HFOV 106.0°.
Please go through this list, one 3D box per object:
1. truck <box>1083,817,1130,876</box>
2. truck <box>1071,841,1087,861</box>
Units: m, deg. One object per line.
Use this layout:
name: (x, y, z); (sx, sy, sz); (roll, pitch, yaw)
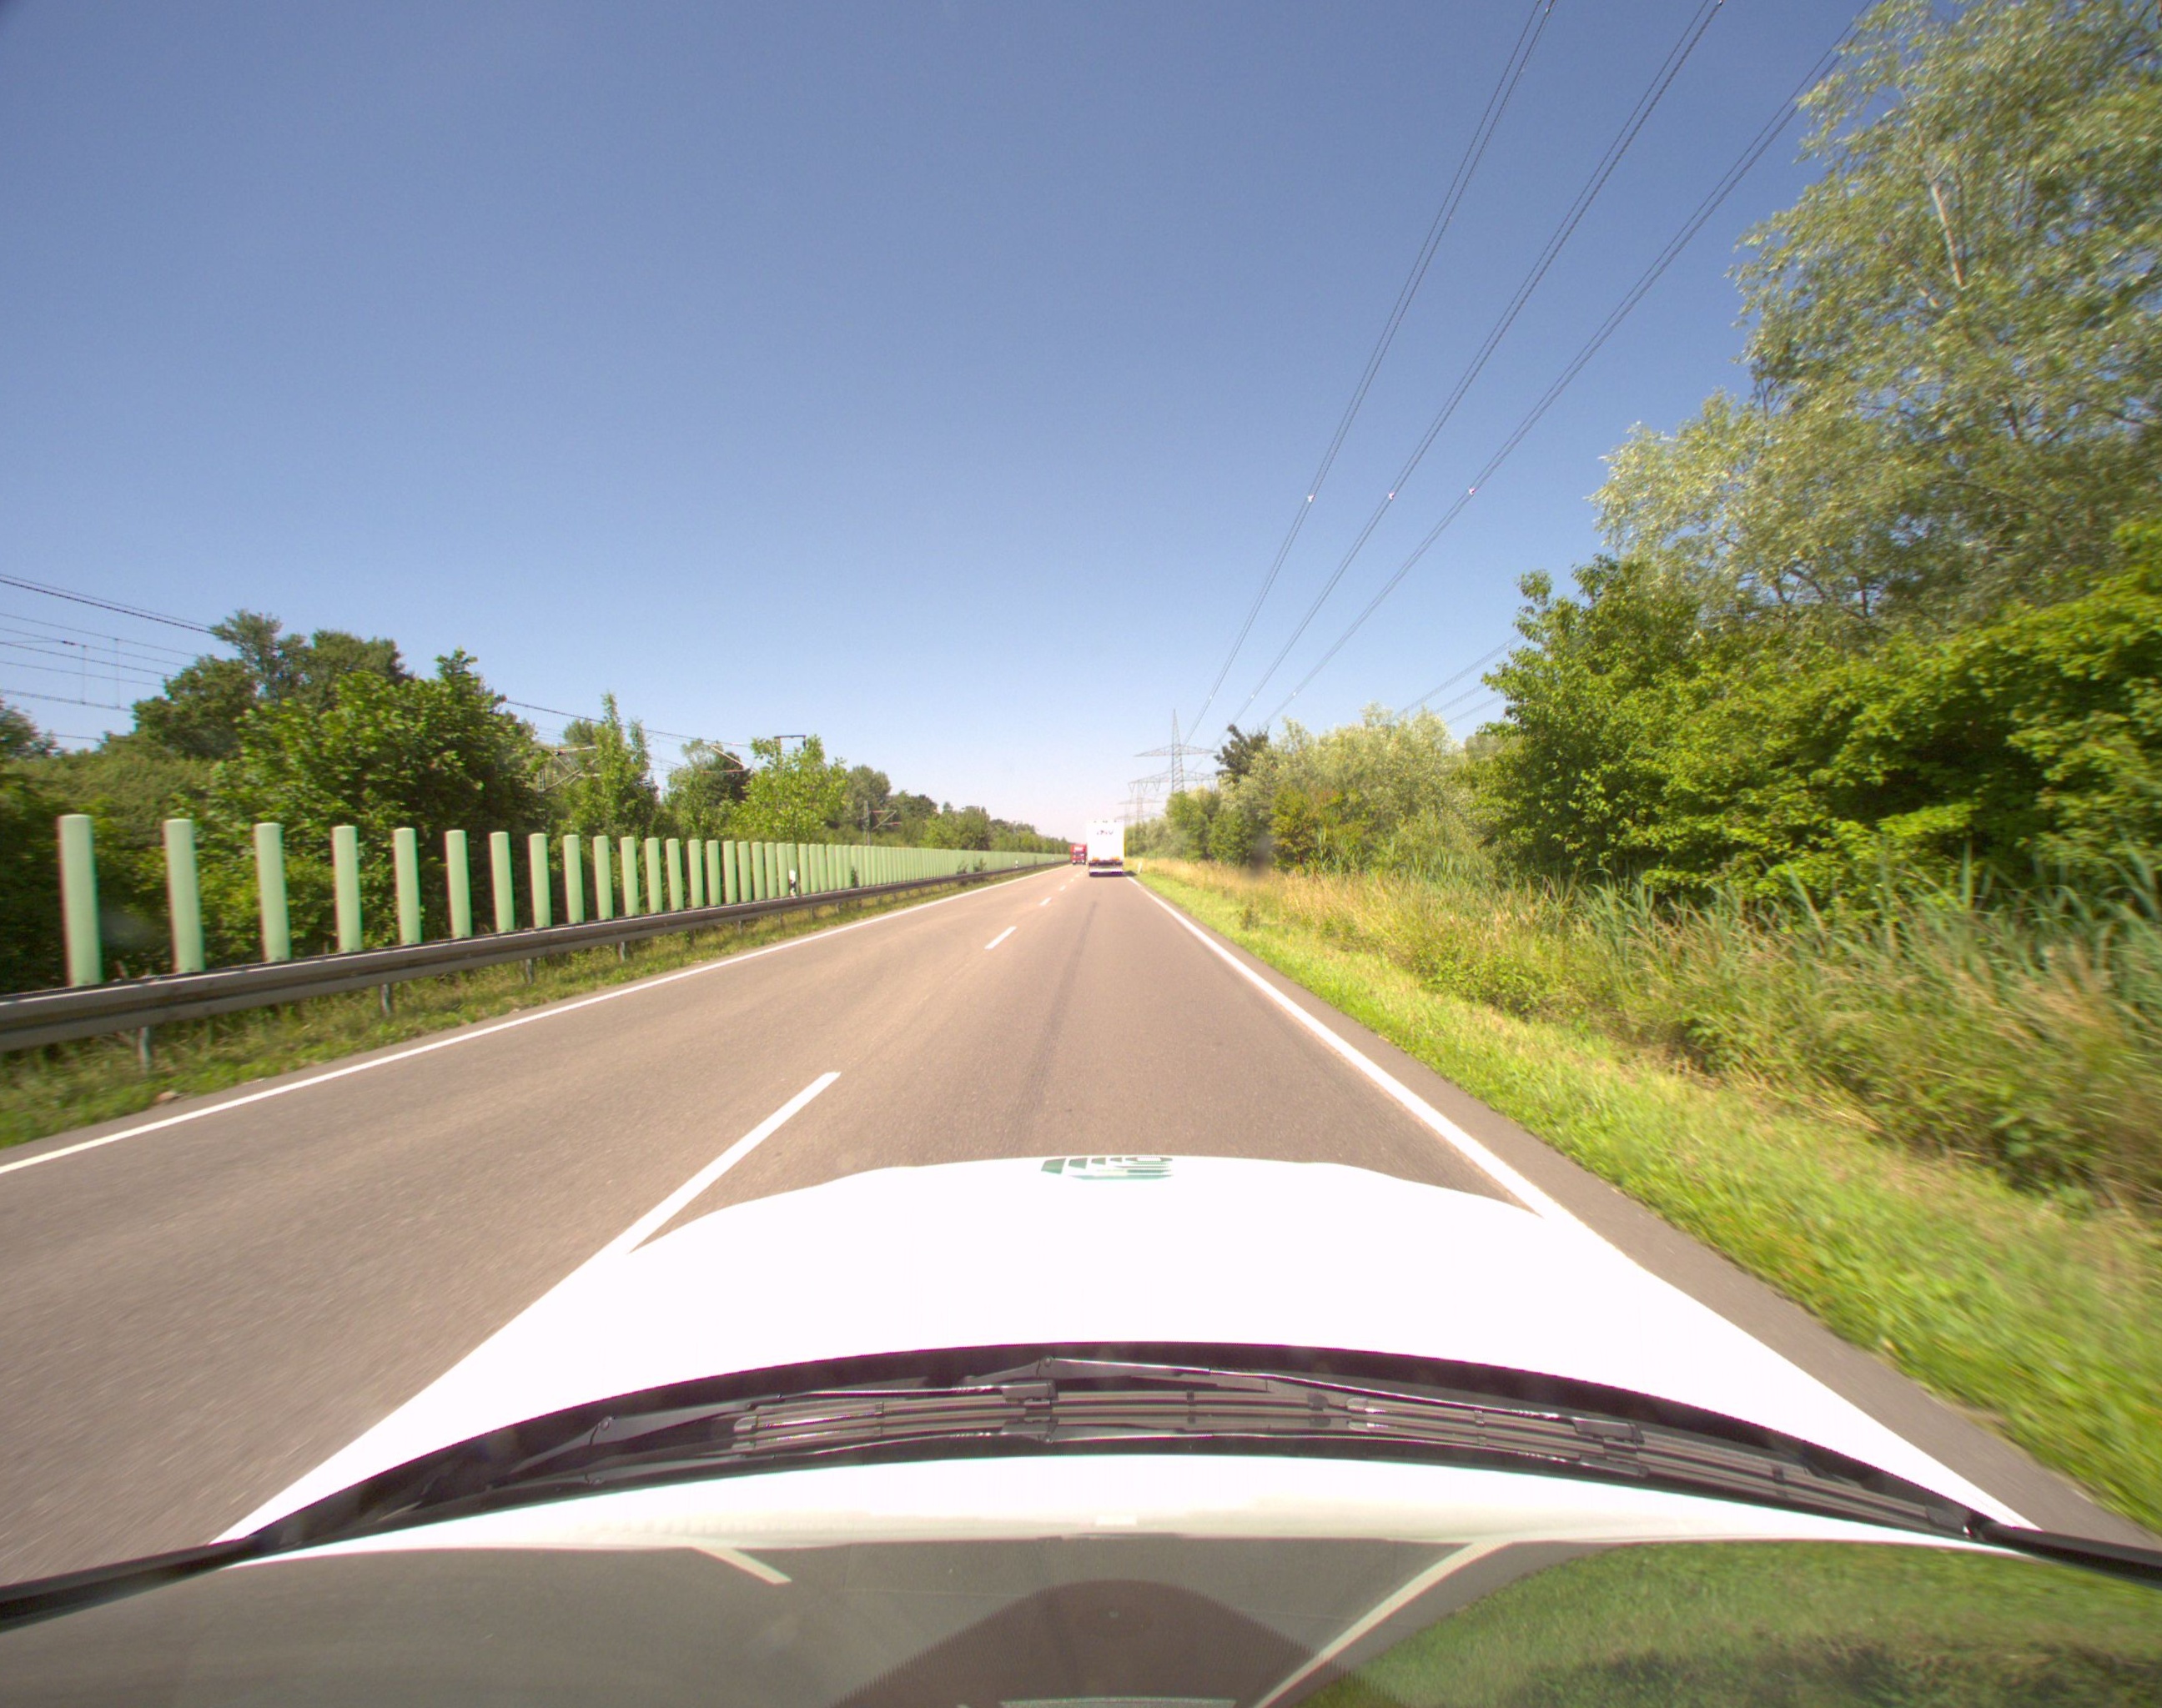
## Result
truck: (1.884, -0.518, 63.003); (3.181, 4.042, 12.008); (-2, 0, 1)
truck: (-0.270, -0.512, 149.602); (2.724, 3.599, 9.528); (-2, 0, 1)
